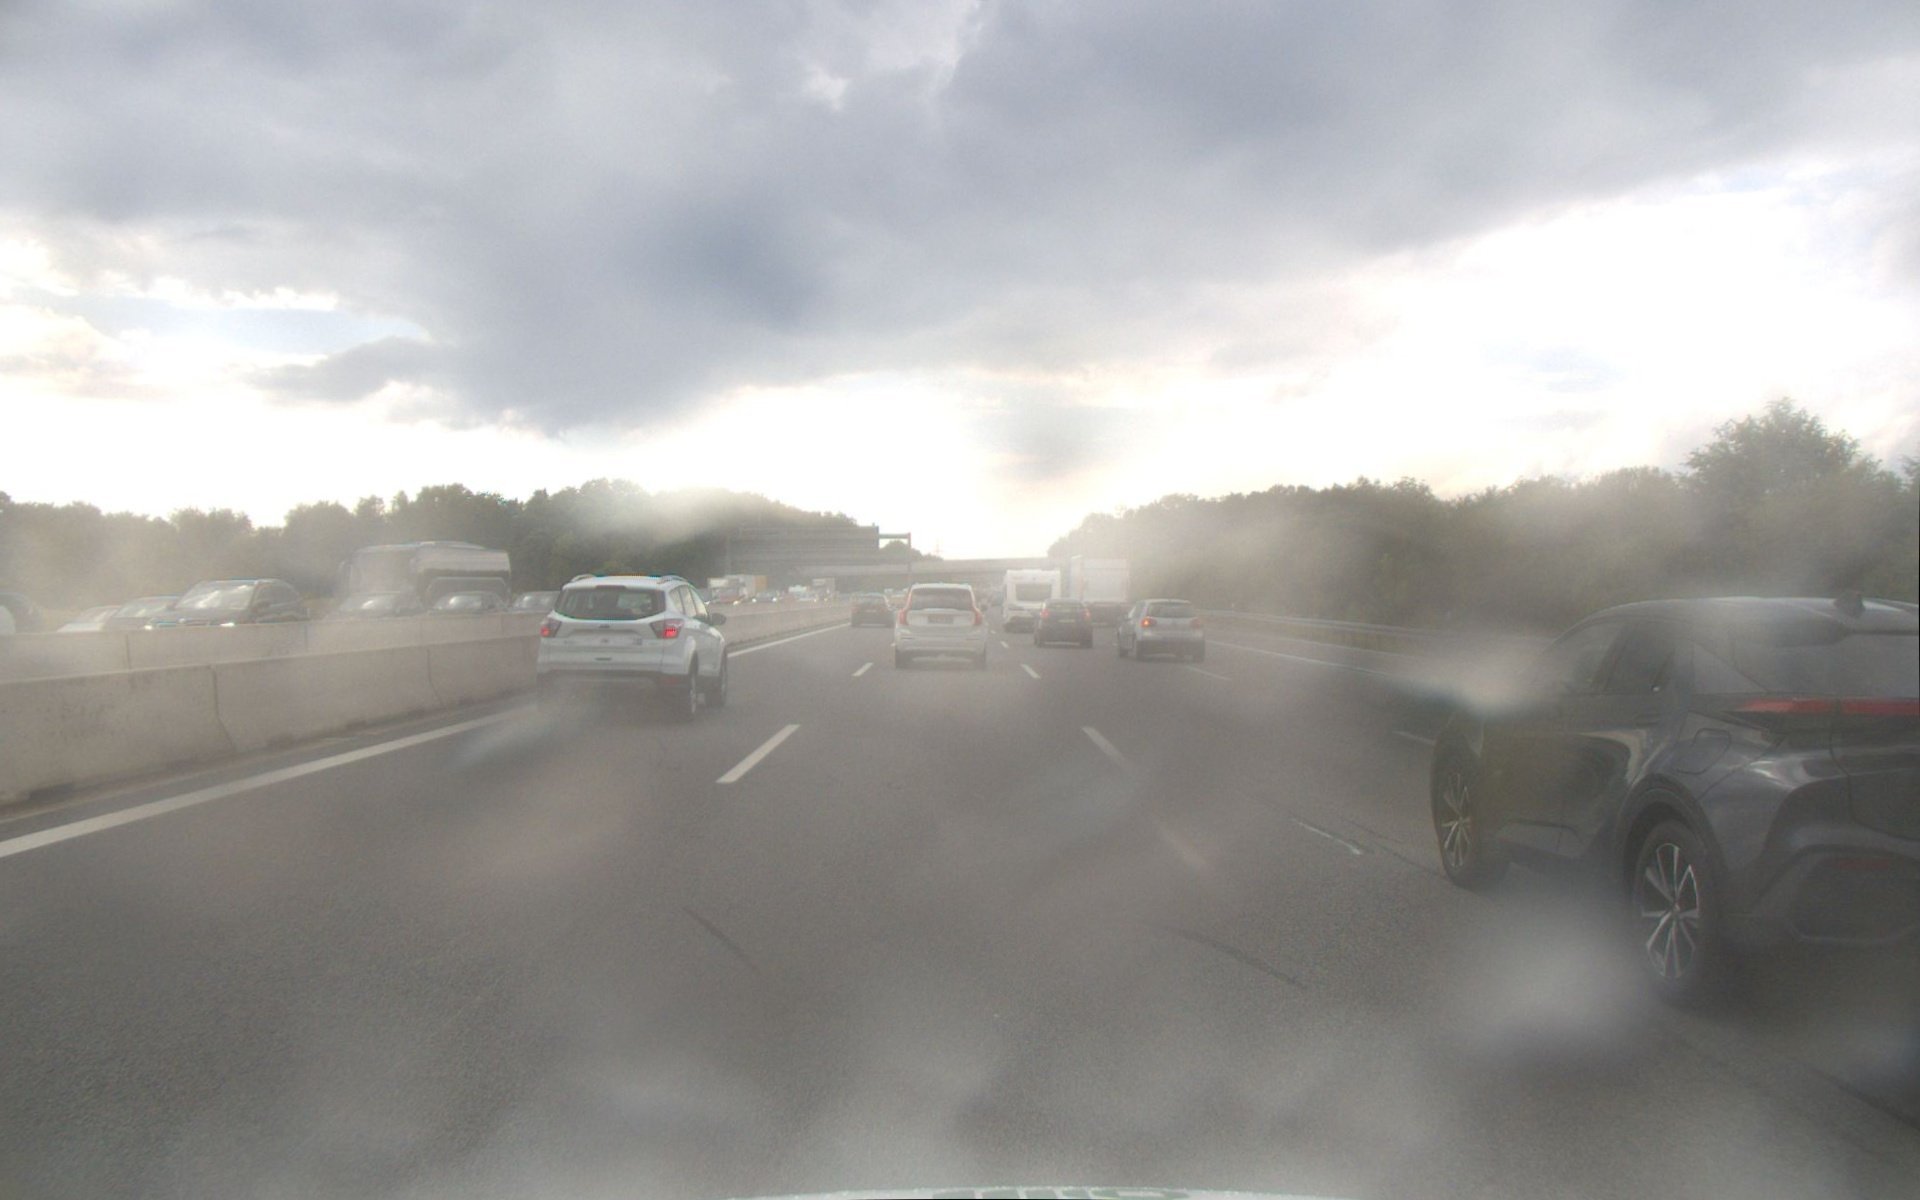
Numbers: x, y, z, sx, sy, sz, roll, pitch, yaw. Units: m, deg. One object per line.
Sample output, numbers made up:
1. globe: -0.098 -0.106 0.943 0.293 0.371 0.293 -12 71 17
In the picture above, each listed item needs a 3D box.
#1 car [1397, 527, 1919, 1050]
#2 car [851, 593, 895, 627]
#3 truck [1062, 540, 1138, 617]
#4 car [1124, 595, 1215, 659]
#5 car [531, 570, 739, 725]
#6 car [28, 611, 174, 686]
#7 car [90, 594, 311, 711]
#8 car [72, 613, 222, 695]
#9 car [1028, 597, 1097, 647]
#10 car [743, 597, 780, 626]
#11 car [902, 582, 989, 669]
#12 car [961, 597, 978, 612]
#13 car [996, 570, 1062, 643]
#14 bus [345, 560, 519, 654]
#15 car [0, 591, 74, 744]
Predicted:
1. car: 3.501 0.591 7.516 1.745 1.641 4.597 0 0 -1
2. car: -4.002 0.451 76.513 1.744 1.507 4.353 0 0 1
3. truck: 7.232 -1.078 86.799 3.069 3.774 9.846 0 0 0
4. car: 5.205 0.645 41.539 1.758 1.503 4.037 0 0 0
5. car: -3.930 0.502 20.787 1.778 1.719 4.850 0 0 -2
6. car: -25.246 1.371 48.791 1.952 2.049 4.425 0 0 0
7. car: -14.087 0.906 31.001 1.953 2.001 4.696 0 0 0
8. car: -21.737 1.396 44.410 1.953 2.049 4.227 0 0 -1
9. car: 3.115 0.644 50.925 1.846 1.431 4.282 0 0 0
10. car: -13.694 0.797 114.196 1.952 1.937 4.503 0 0 0
11. car: -0.343 0.505 35.630 1.745 1.746 4.351 0 0 -1
12. car: 1.143 0.502 197.930 1.843 1.715 3.998 0 0 -2
13. car: 2.887 0.249 71.140 2.514 2.946 7.533 0 0 0
14. bus: -21.354 0.231 68.035 2.632 3.444 13.997 0 0 0
15. car: -13.517 0.881 21.032 1.953 2.001 4.696 0 0 0
